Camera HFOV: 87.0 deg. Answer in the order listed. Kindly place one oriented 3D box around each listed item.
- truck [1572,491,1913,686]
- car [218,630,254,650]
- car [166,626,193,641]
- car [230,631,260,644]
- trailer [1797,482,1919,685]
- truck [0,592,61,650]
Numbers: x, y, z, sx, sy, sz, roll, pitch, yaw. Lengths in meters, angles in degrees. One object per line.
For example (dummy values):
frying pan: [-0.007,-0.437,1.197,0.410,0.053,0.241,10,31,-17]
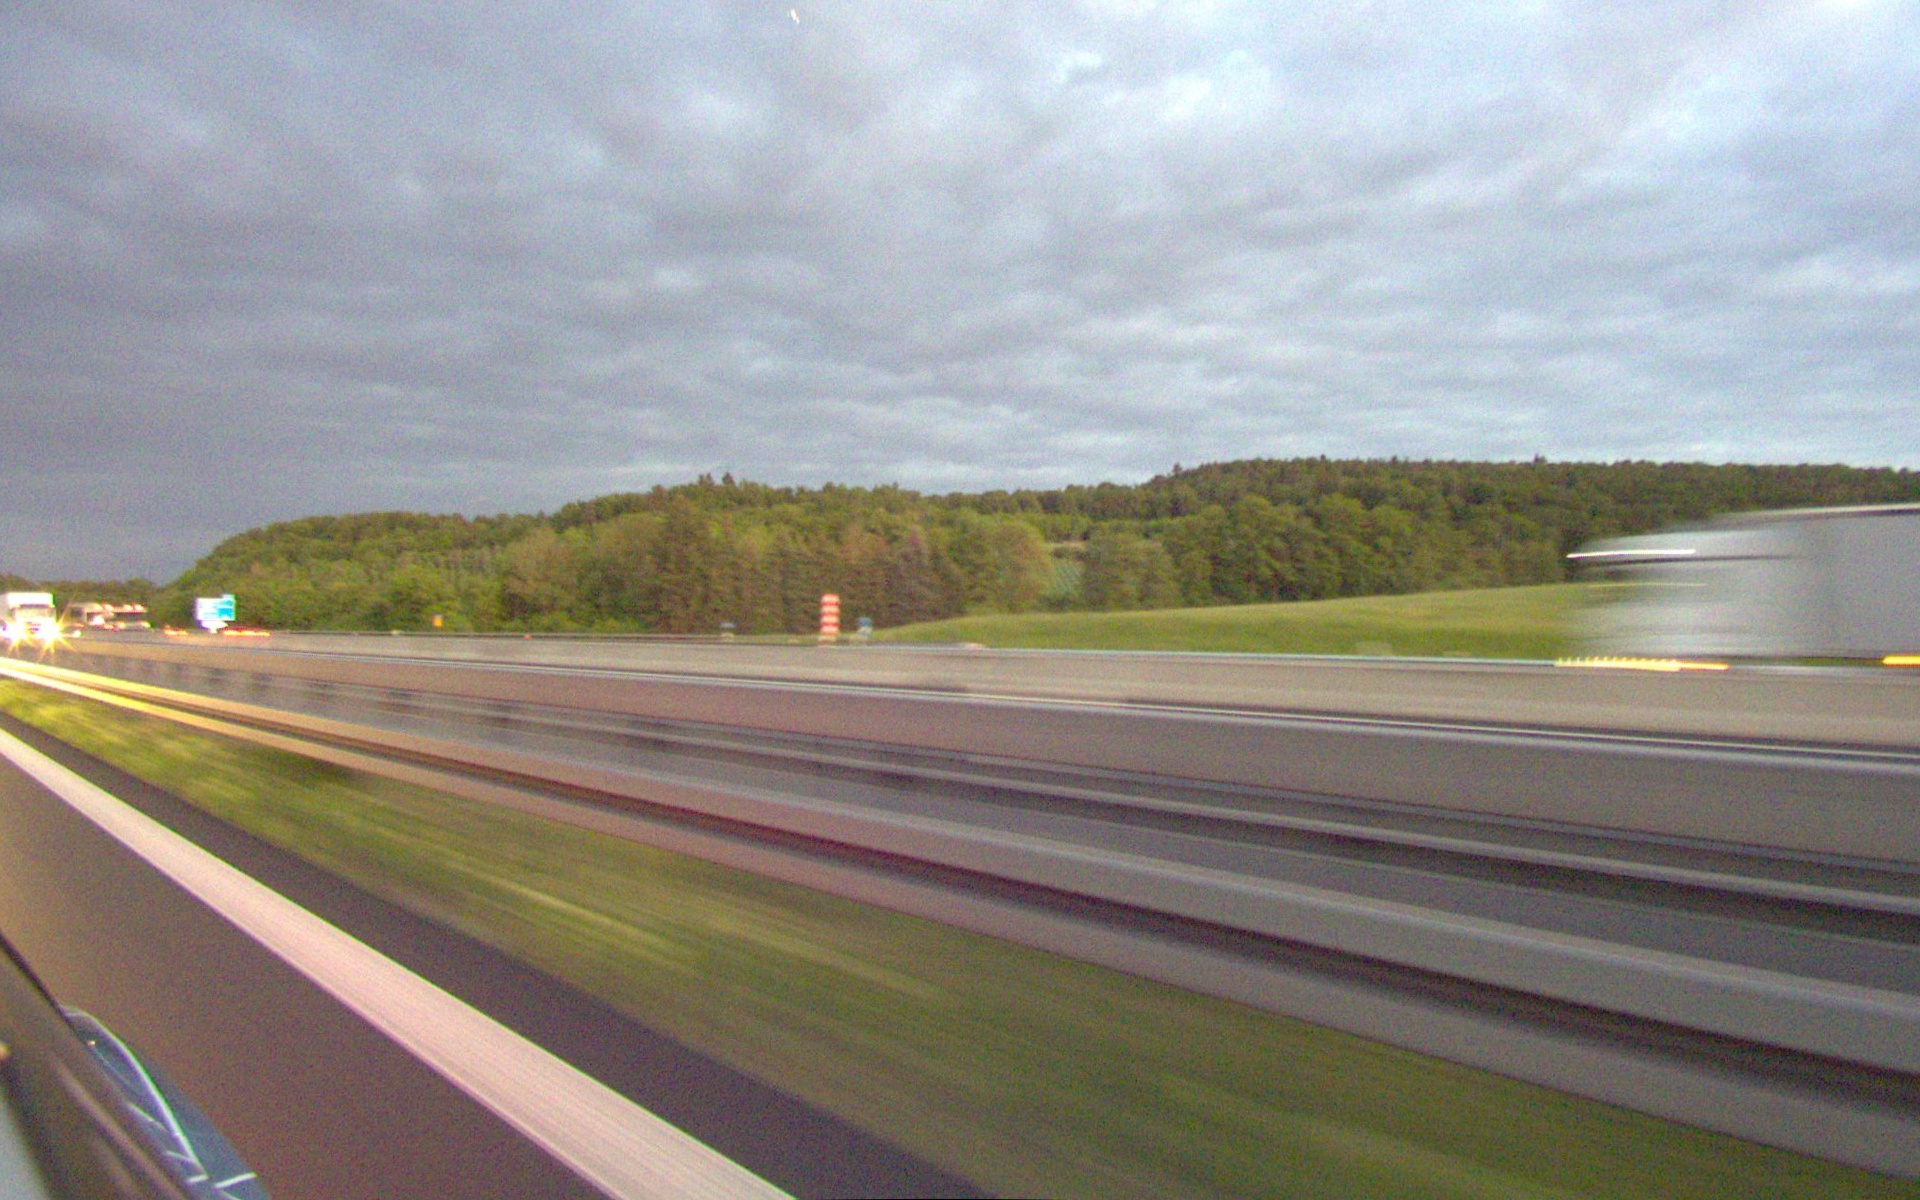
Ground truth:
truck: [16.777,-0.135,21.995,5.494,3.647,3.275,-1,-2,41]
car: [-62.037,3.402,86.693,3.750,1.719,1.665,-1,-2,41]
car: [-102.857,4.415,133.338,4.731,2.029,1.972,-1,-2,41]
car: [-78.603,4.145,111.238,3.889,1.329,1.750,-1,-2,39]
trailer: [22.885,-0.314,16.720,13.878,3.794,3.292,-1,-2,41]
truck: [-73.787,1.660,79.779,9.886,4.334,3.006,-1,-2,41]
